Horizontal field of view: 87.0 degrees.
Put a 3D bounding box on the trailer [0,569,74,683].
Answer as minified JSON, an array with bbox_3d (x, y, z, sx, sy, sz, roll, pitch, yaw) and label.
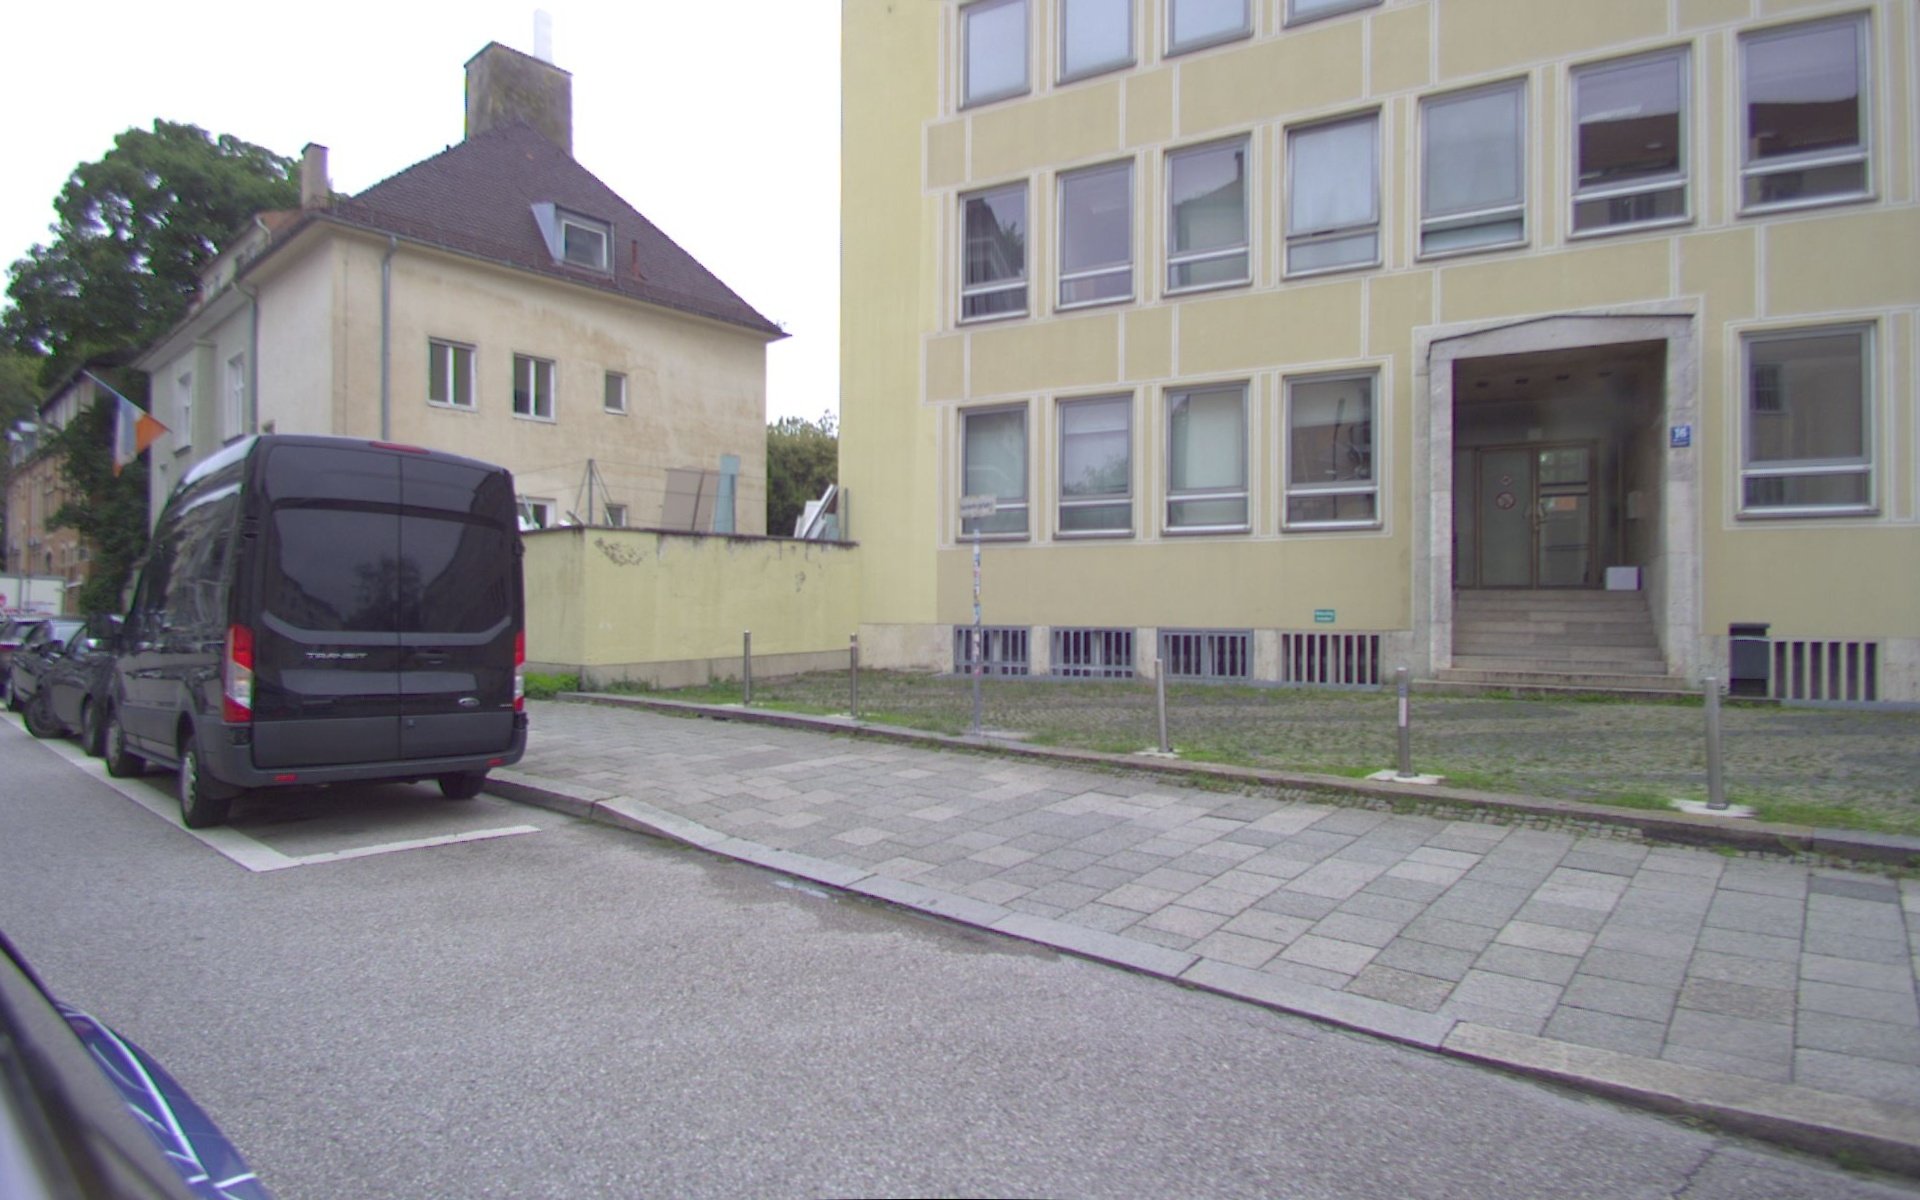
[{"bbox_3d":[-22.404,0.577,23.785,4.579,2.490,1.953,0,-3,45],"label":"trailer"}]

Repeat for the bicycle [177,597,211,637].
[{"bbox_3d":[-21.544,0.461,28.455,1.522,1.093,0.455,0,1,41],"label":"bicycle"}]

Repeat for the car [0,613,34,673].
[{"bbox_3d":[-26.209,1.108,27.073,4.105,1.542,1.661,-1,-2,41],"label":"car"}]

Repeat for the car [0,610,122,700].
[{"bbox_3d":[-17.965,0.999,19.753,5.092,1.553,1.843,-1,-2,44],"label":"car"}]

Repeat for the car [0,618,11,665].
[{"bbox_3d":[-30.496,1.240,30.942,4.400,1.378,1.727,-1,-2,41],"label":"car"}]

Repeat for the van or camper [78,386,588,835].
[{"bbox_3d":[-5.675,0.113,8.753,5.561,2.671,2.268,-1,-3,43],"label":"van or camper"}]

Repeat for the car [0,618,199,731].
[{"bbox_3d":[-13.143,1.025,15.228,4.281,1.447,1.659,0,-3,39],"label":"car"}]

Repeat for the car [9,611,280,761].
[{"bbox_3d":[-9.816,0.911,12.091,3.903,1.508,1.637,0,-3,38],"label":"car"}]
